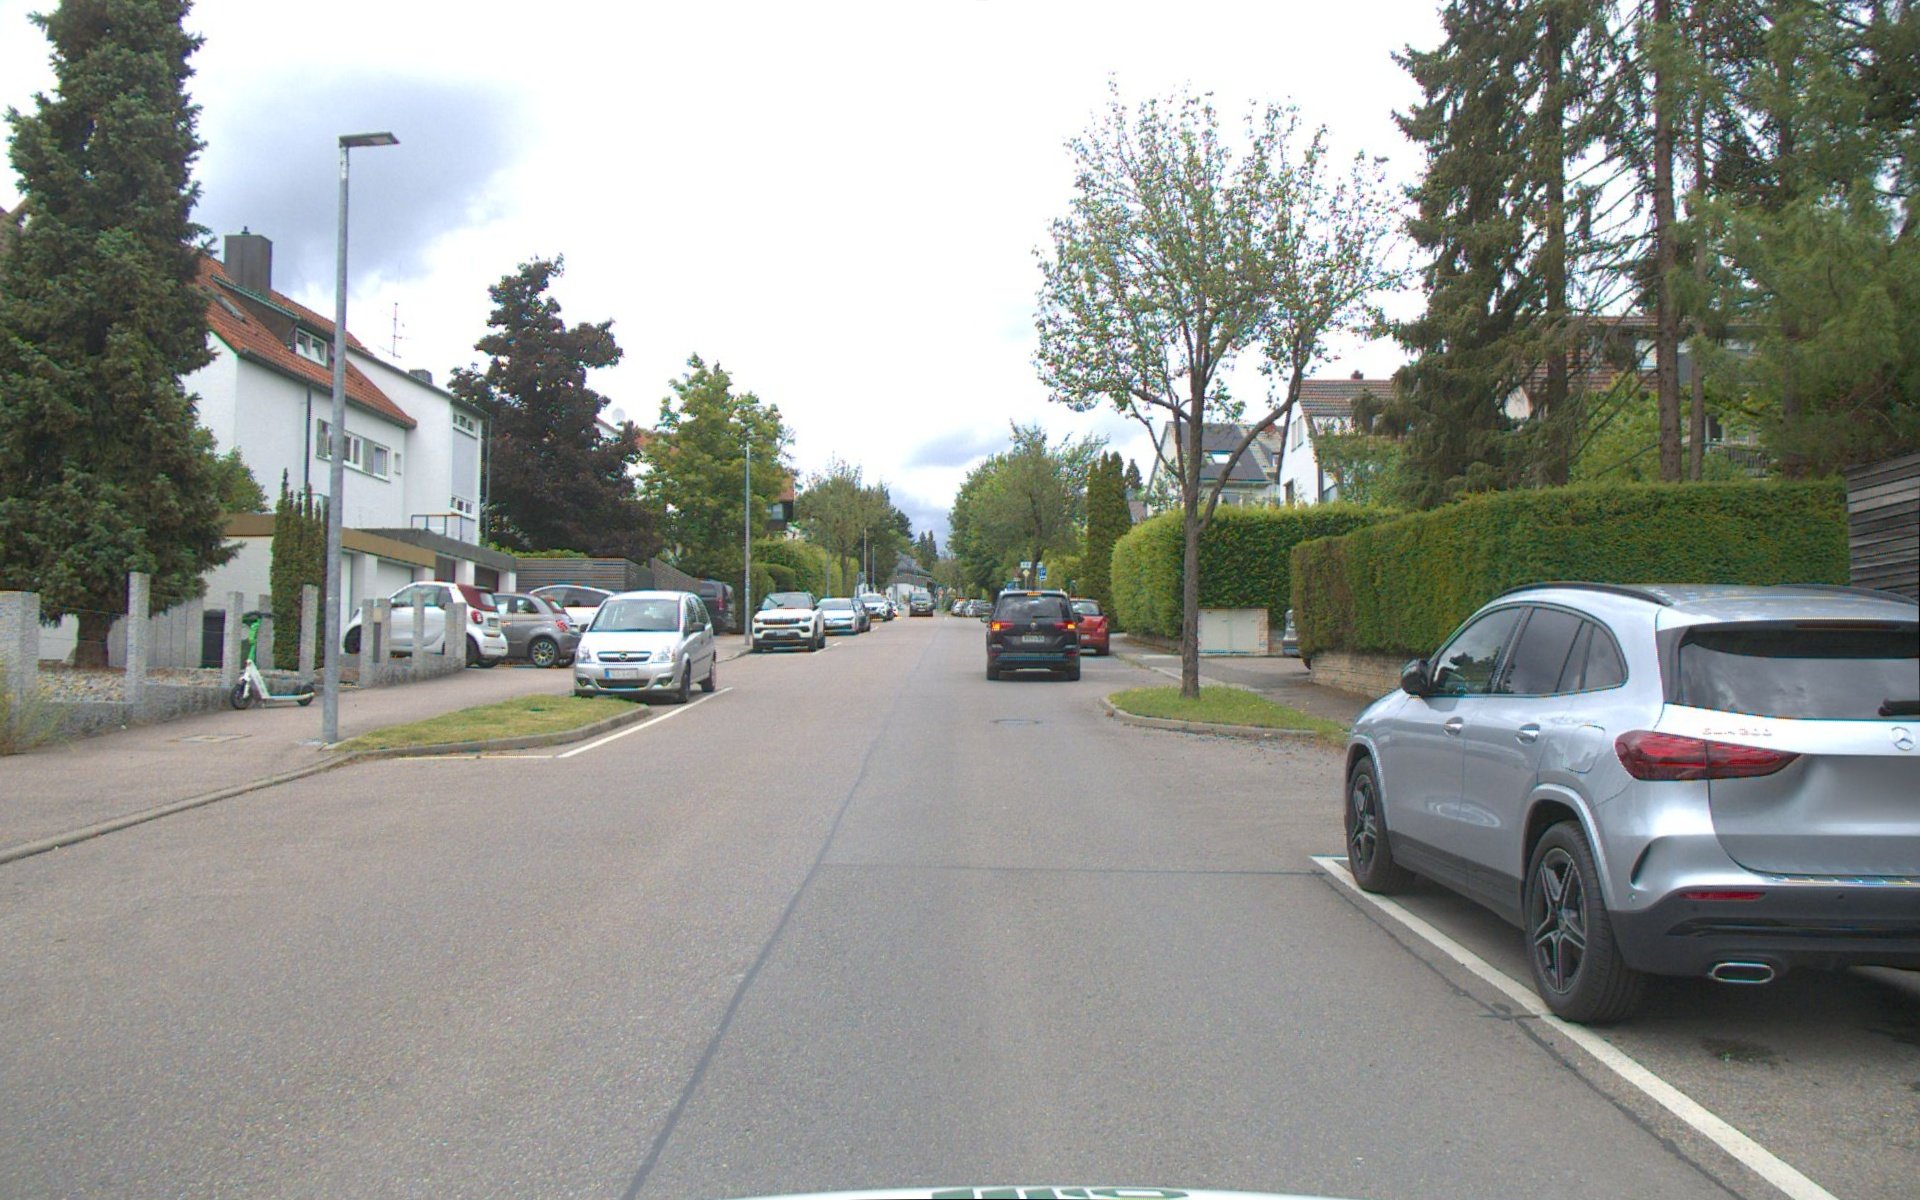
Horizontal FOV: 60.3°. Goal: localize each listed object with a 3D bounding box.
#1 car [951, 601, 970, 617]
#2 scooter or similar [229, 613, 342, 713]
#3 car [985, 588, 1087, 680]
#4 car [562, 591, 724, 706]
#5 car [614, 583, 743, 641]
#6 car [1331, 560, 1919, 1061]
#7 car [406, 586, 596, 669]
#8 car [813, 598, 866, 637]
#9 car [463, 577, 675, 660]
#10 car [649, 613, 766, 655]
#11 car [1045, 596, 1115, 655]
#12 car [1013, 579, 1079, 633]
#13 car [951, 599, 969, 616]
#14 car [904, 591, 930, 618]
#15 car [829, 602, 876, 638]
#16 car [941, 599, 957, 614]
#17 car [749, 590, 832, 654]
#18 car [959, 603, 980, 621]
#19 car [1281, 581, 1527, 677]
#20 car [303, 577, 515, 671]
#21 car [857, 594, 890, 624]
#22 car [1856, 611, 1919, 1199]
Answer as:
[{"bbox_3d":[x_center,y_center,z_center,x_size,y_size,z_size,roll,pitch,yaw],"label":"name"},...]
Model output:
[{"bbox_3d":[0.075,0.916,165.204,1.632,1.527,3.464,0,0,-4],"label":"car"},{"bbox_3d":[-8.297,0.750,20.390,0.464,1.168,1.455,2,0,16],"label":"scooter or similar"},{"bbox_3d":[1.394,0.615,31.710,1.809,1.640,4.311,0,0,1],"label":"car"},{"bbox_3d":[-4.749,0.680,25.291,1.724,1.590,3.855,-1,0,0],"label":"car"},{"bbox_3d":[-9.778,0.428,57.632,3.986,1.984,2.001,0,-1,8],"label":"car"},{"bbox_3d":[3.111,0.699,7.451,1.817,1.610,4.170,1,0,-2],"label":"car"},{"bbox_3d":[-9.422,0.566,34.140,3.358,1.539,1.692,2,-1,1],"label":"car"},{"bbox_3d":[-4.749,0.683,65.699,1.800,1.447,4.407,-2,0,-1],"label":"car"},{"bbox_3d":[-8.906,0.417,37.946,4.322,1.657,1.910,3,0,-1],"label":"car"},{"bbox_3d":[-9.339,1.244,61.301,3.902,1.471,1.780,0,0,13],"label":"car"},{"bbox_3d":[3.201,0.658,44.753,1.627,1.534,3.758,0,0,0],"label":"car"},{"bbox_3d":[2.794,0.205,54.448,1.952,1.646,4.513,2,0,1],"label":"car"},{"bbox_3d":[-0.023,0.797,172.083,1.632,1.697,3.464,0,0,-4],"label":"car"},{"bbox_3d":[-3.116,0.330,120.733,1.846,1.883,4.401,-1,0,0],"label":"car"},{"bbox_3d":[-4.539,0.849,70.414,1.692,1.448,4.079,-1,0,0],"label":"car"},{"bbox_3d":[-1.240,0.745,187.446,1.611,1.697,3.464,0,0,-4],"label":"car"},{"bbox_3d":[-4.752,0.595,46.962,1.799,1.695,4.408,-2,0,1],"label":"car"},{"bbox_3d":[0.813,1.021,145.450,1.632,1.527,3.464,0,0,-4],"label":"car"},{"bbox_3d":[8.483,0.523,31.754,4.130,1.627,1.878,-2,1,-9],"label":"car"},{"bbox_3d":[-10.340,0.456,31.206,3.358,1.606,1.657,2,-1,1],"label":"car"},{"bbox_3d":[-4.681,0.461,90.178,1.688,1.567,3.998,-1,0,-2],"label":"car"},{"bbox_3d":[3.085,0.772,1.846,1.817,1.490,4.170,1,0,-2],"label":"car"}]
